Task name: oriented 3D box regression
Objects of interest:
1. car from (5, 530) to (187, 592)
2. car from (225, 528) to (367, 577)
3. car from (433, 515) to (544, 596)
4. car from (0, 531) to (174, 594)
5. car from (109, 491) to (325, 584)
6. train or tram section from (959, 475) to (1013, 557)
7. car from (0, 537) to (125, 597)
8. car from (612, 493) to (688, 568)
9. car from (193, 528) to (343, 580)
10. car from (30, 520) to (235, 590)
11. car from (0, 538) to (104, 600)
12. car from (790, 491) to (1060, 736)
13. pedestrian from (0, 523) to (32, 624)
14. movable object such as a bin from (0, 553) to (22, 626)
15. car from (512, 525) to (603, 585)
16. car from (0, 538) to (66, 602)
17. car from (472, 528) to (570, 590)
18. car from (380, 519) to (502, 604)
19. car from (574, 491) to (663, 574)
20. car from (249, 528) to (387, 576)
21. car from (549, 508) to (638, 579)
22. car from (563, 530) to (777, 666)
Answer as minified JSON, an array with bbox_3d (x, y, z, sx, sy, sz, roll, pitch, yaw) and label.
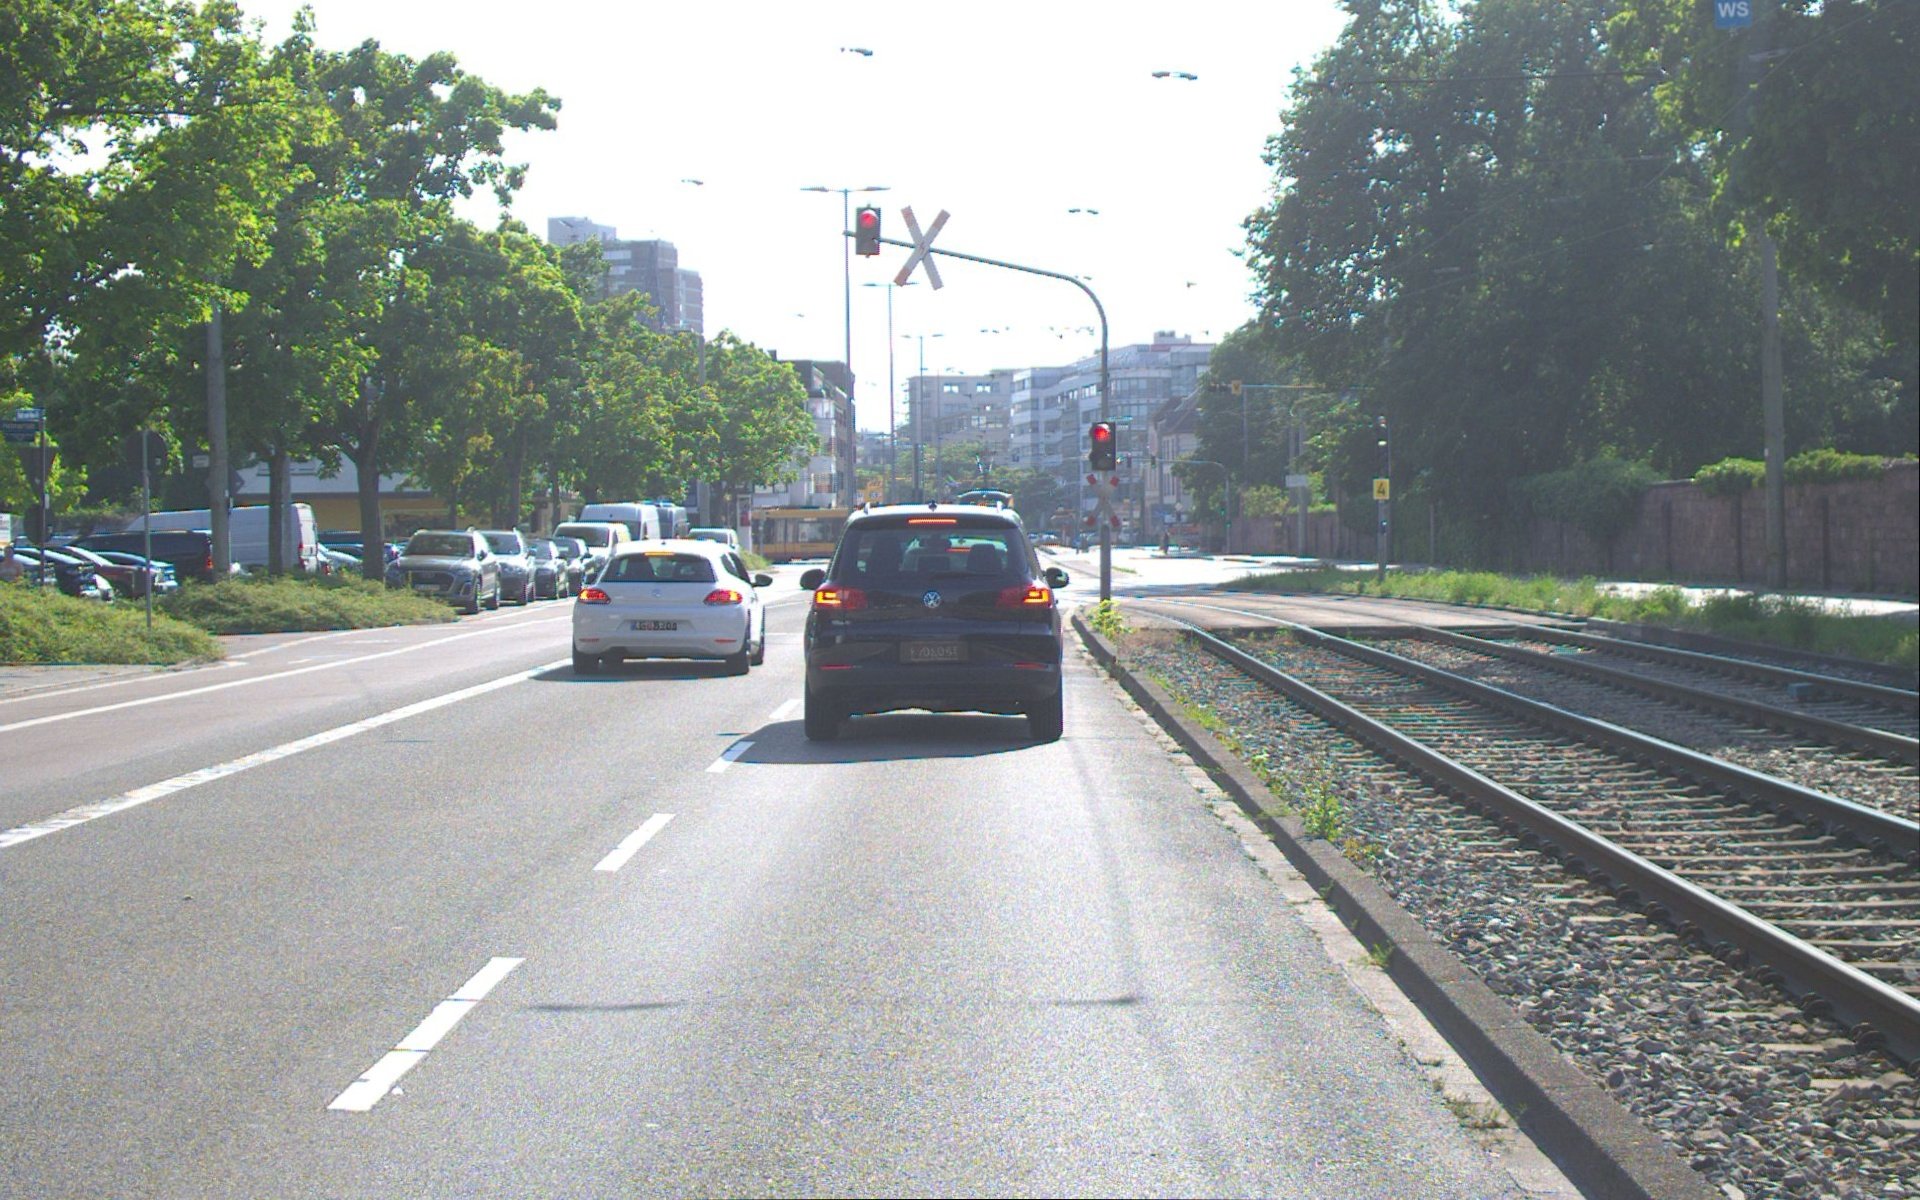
[{"bbox_3d":[-20.944,-0.953,83.431,3.986,1.392,1.738,-1,1,-2],"label":"car"},{"bbox_3d":[-20.211,-1.458,104.726,3.986,1.392,1.738,-1,1,-2],"label":"car"},{"bbox_3d":[-10.425,-1.000,76.259,1.732,1.688,4.000,-1,2,2],"label":"car"},{"bbox_3d":[-20.595,-0.888,80.461,3.986,1.392,1.738,-1,1,-2],"label":"car"},{"bbox_3d":[-20.243,-1.701,93.815,5.375,2.415,2.087,-1,1,1],"label":"car"},{"bbox_3d":[1.205,-3.785,155.085,2.326,3.558,8.900,-1,1,1],"label":"train or tram section"},{"bbox_3d":[-21.200,-0.740,78.256,3.986,1.302,1.738,-1,1,-2],"label":"car"},{"bbox_3d":[-9.647,-2.193,107.251,1.732,2.261,4.645,-1,1,2],"label":"car"},{"bbox_3d":[-19.954,-1.332,99.249,3.986,1.392,1.738,-1,1,-2],"label":"car"},{"bbox_3d":[-20.629,-1.135,85.810,4.617,1.646,2.049,-1,1,-1],"label":"car"},{"bbox_3d":[-20.877,-0.666,74.963,3.986,1.302,1.738,-1,1,-2],"label":"car"},{"bbox_3d":[-0.203,0.053,25.134,1.811,1.639,4.000,0,1,1],"label":"car"},{"bbox_3d":[-15.487,-0.438,56.017,0.524,1.622,0.610,-1,1,1],"label":"pedestrian"},{"bbox_3d":[-15.503,-0.168,55.089,0.542,1.142,1.261,-1,1,1],"label":"movable object such as a bin"},{"bbox_3d":[-10.338,-1.167,88.455,1.732,1.445,3.735,-1,2,2],"label":"car"},{"bbox_3d":[-21.041,-0.604,72.370,3.986,1.302,1.738,-1,1,-2],"label":"car"},{"bbox_3d":[-10.521,-1.007,82.577,1.732,1.384,3.735,-1,2,2],"label":"car"},{"bbox_3d":[-10.629,-0.816,70.635,1.732,1.652,4.000,-1,1,2],"label":"car"},{"bbox_3d":[-9.943,-1.991,100.429,1.863,2.339,4.985,-1,1,2],"label":"car"},{"bbox_3d":[-19.963,-1.509,106.952,3.986,1.392,1.738,-1,1,-2],"label":"car"},{"bbox_3d":[-9.956,-1.564,93.676,1.732,1.853,4.489,-1,1,2],"label":"car"},{"bbox_3d":[-3.019,-0.064,36.502,1.865,1.343,4.000,0,1,1],"label":"car"}]
